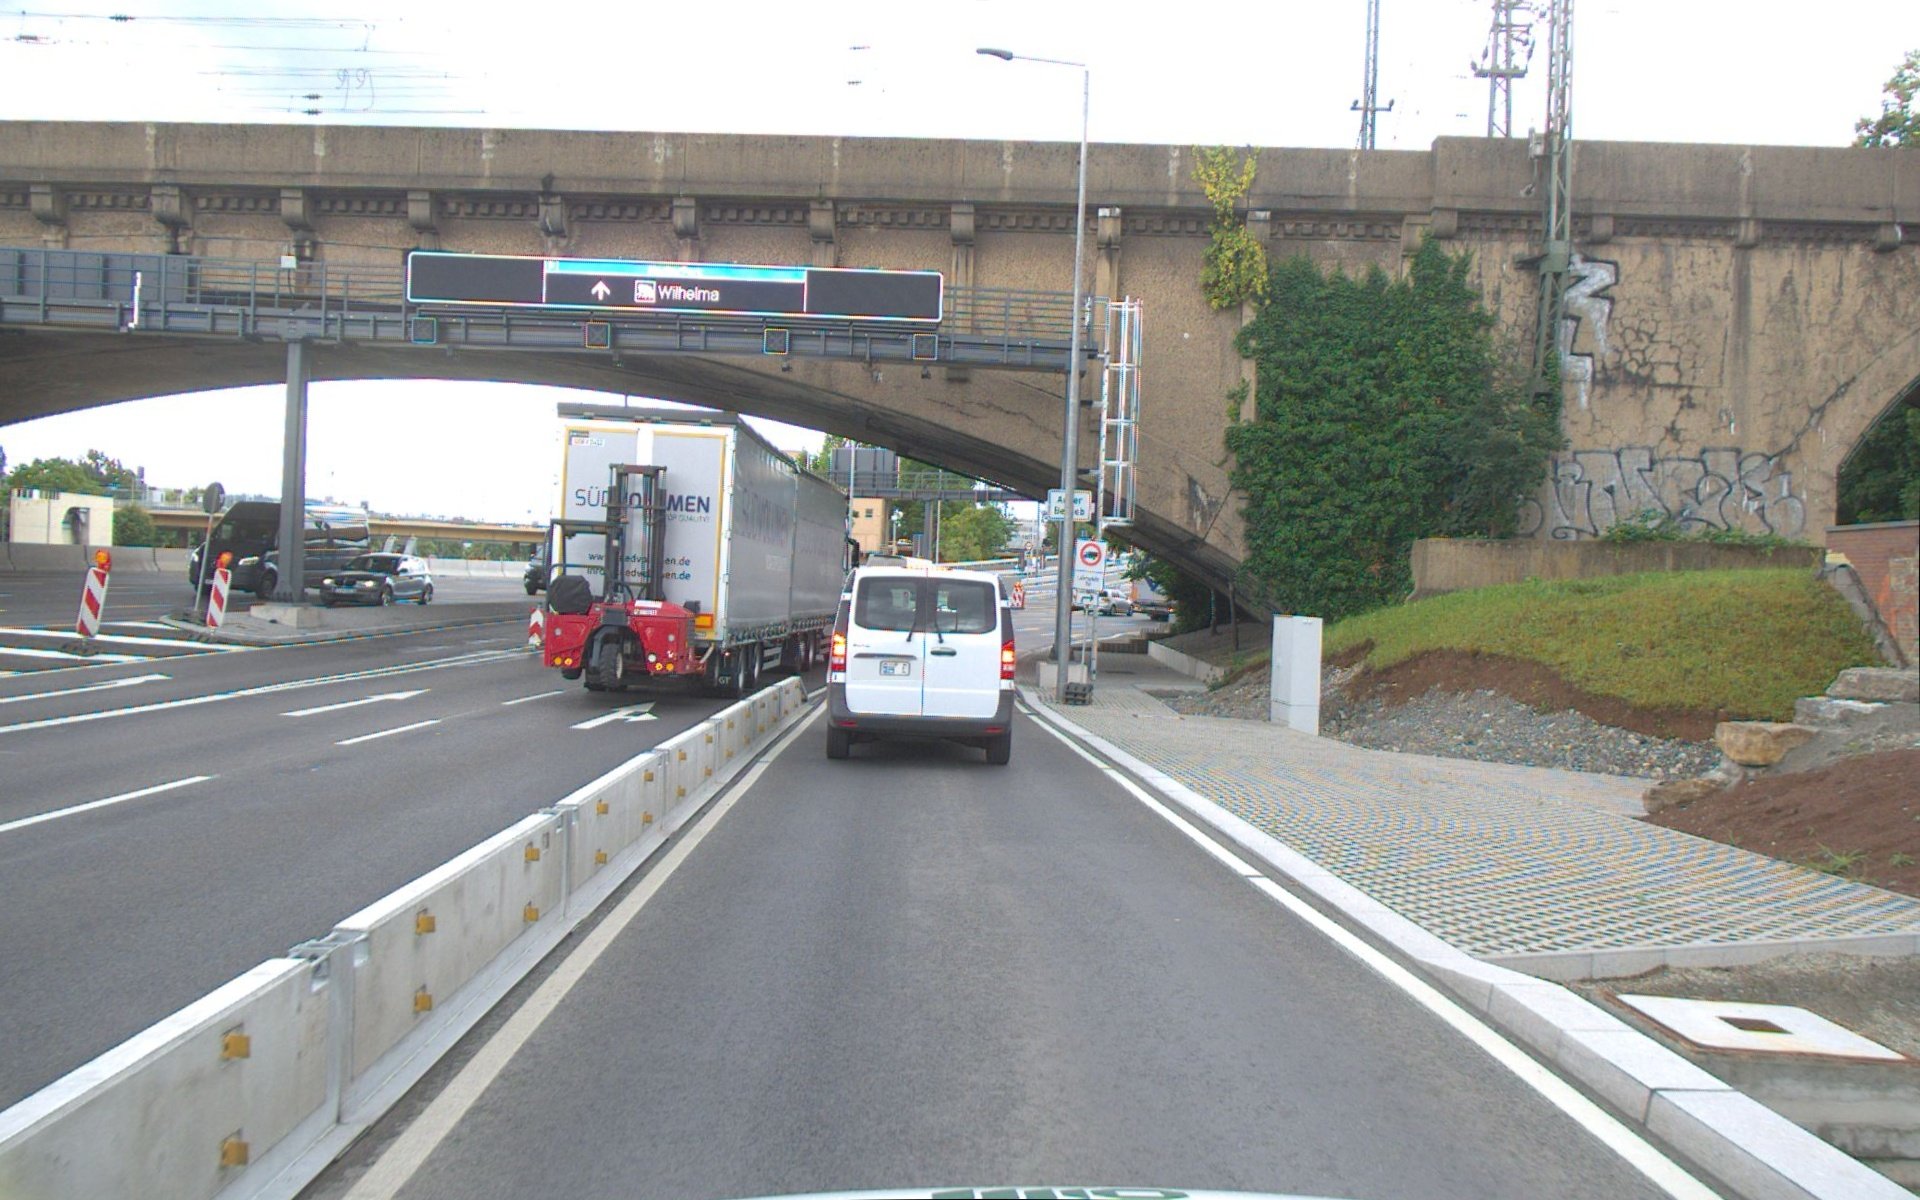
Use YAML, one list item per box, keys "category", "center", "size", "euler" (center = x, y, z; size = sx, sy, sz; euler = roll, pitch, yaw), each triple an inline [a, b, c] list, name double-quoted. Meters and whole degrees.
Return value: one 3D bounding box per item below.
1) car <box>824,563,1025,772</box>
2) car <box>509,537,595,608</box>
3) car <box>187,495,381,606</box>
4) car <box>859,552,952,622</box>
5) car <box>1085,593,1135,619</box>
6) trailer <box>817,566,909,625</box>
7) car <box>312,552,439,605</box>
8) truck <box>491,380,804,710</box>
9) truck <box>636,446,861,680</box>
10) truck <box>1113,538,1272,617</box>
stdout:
- category: "car"
  center: [-0.333, 0.617, 17.795]
  size: [1.838, 1.924, 4.753]
  euler: [1, 0, 0]
- category: "car"
  center: [-15.789, -1.019, 64.280]
  size: [1.922, 2.049, 5.188]
  euler: [-3, -6, 1]
- category: "car"
  center: [-18.888, -1.285, 46.618]
  size: [2.167, 2.826, 6.149]
  euler: [0, -1, 9]
- category: "car"
  center: [-2.122, -0.516, 66.306]
  size: [1.952, 2.585, 5.176]
  euler: [5, 1, 18]
- category: "car"
  center: [8.382, 0.324, 92.290]
  size: [1.347, 1.400, 3.454]
  euler: [2, 1, 31]
- category: "trailer"
  center: [-3.583, -0.175, 61.923]
  size: [1.952, 1.991, 4.080]
  euler: [5, 1, 18]
- category: "car"
  center: [-15.668, -0.540, 44.583]
  size: [1.847, 1.354, 4.257]
  euler: [0, 0, 1]
- category: "truck"
  center: [-4.482, -0.629, 26.320]
  size: [2.858, 4.087, 10.199]
  euler: [3, -1, 0]
- category: "truck"
  center: [-4.304, -0.585, 36.642]
  size: [2.926, 4.249, 11.242]
  euler: [3, -1, 2]
- category: "truck"
  center: [13.556, -1.119, 94.230]
  size: [3.255, 3.875, 16.567]
  euler: [4, 1, 28]
